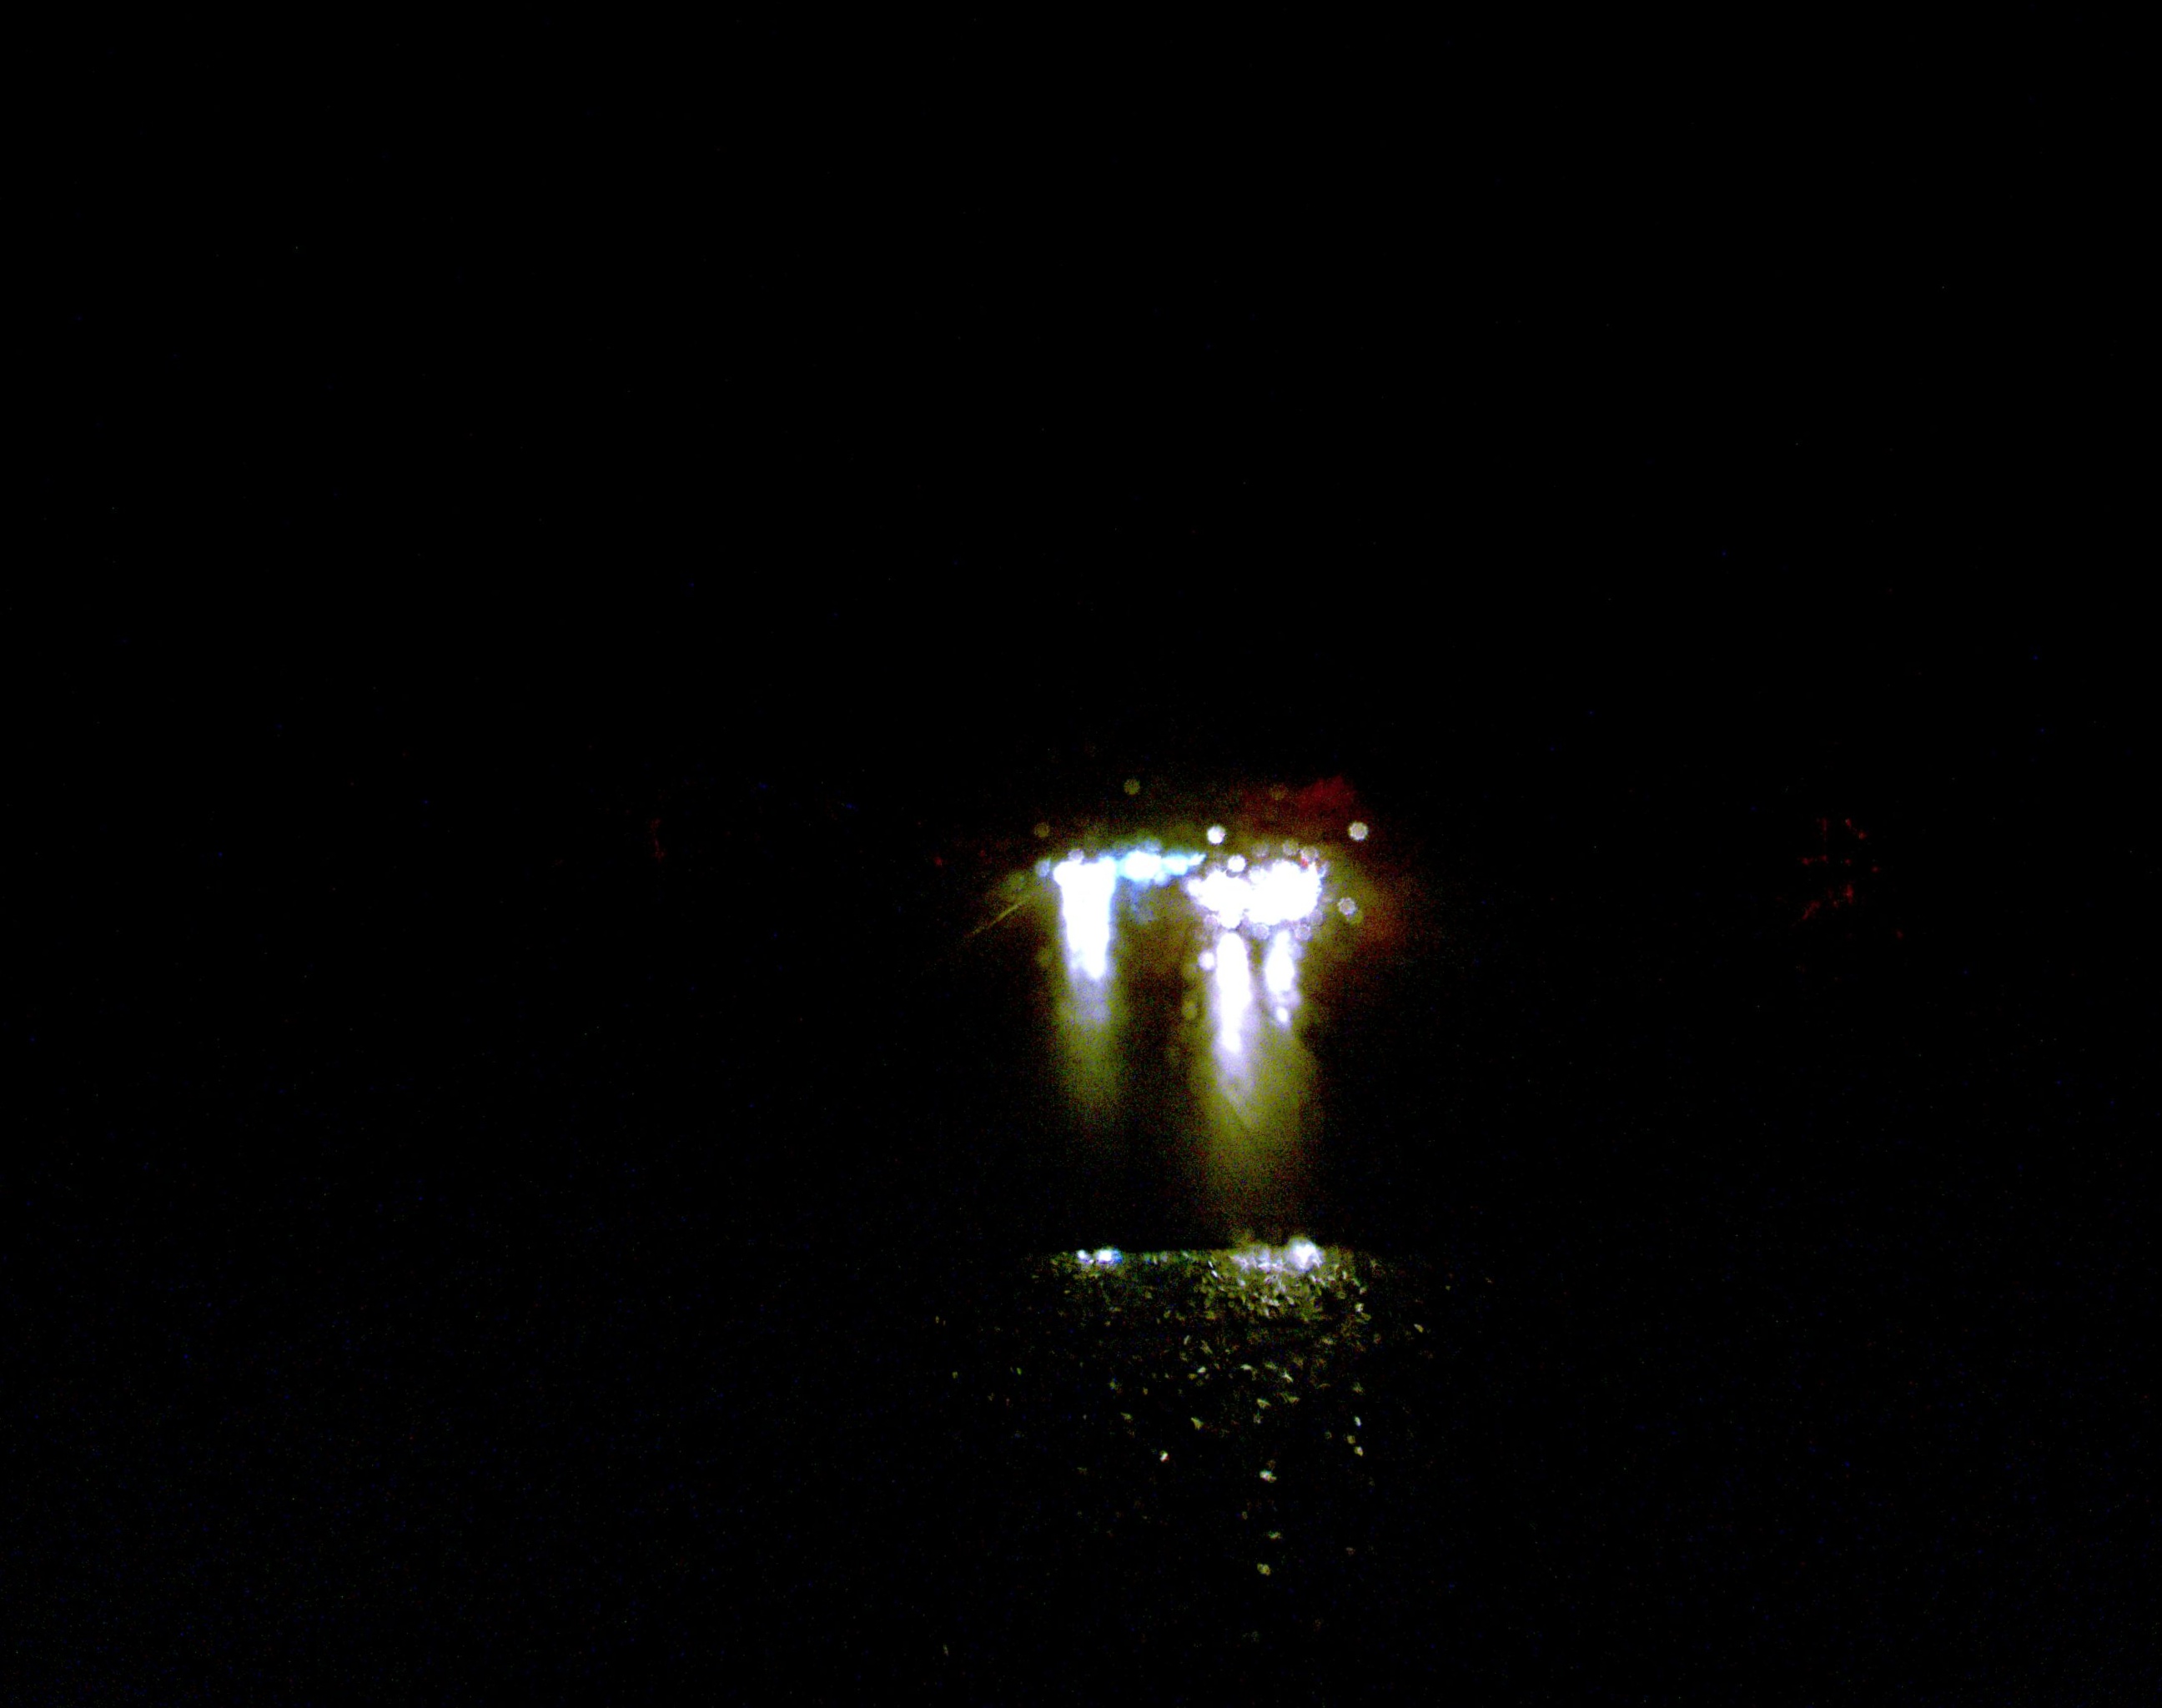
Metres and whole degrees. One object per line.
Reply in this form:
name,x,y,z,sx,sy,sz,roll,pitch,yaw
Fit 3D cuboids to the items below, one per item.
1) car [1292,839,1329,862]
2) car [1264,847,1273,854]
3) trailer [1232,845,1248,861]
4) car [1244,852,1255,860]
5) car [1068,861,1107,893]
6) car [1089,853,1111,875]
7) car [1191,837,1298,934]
car,21.009,-0.364,69.650,1.998,2.002,4.809,-1,1,1
car,45.502,-0.810,184.240,1.834,1.703,4.002,-1,1,8
trailer,37.476,-0.313,179.824,2.614,3.453,10.449,-1,1,6
car,31.901,0.441,143.837,1.607,1.335,3.243,-2,1,5
car,0.414,1.275,42.827,1.892,1.603,4.001,-1,1,5
car,1.826,0.957,73.451,1.998,2.002,4.000,-1,0,1
car,3.866,0.680,18.755,1.754,2.093,4.463,0,0,1
